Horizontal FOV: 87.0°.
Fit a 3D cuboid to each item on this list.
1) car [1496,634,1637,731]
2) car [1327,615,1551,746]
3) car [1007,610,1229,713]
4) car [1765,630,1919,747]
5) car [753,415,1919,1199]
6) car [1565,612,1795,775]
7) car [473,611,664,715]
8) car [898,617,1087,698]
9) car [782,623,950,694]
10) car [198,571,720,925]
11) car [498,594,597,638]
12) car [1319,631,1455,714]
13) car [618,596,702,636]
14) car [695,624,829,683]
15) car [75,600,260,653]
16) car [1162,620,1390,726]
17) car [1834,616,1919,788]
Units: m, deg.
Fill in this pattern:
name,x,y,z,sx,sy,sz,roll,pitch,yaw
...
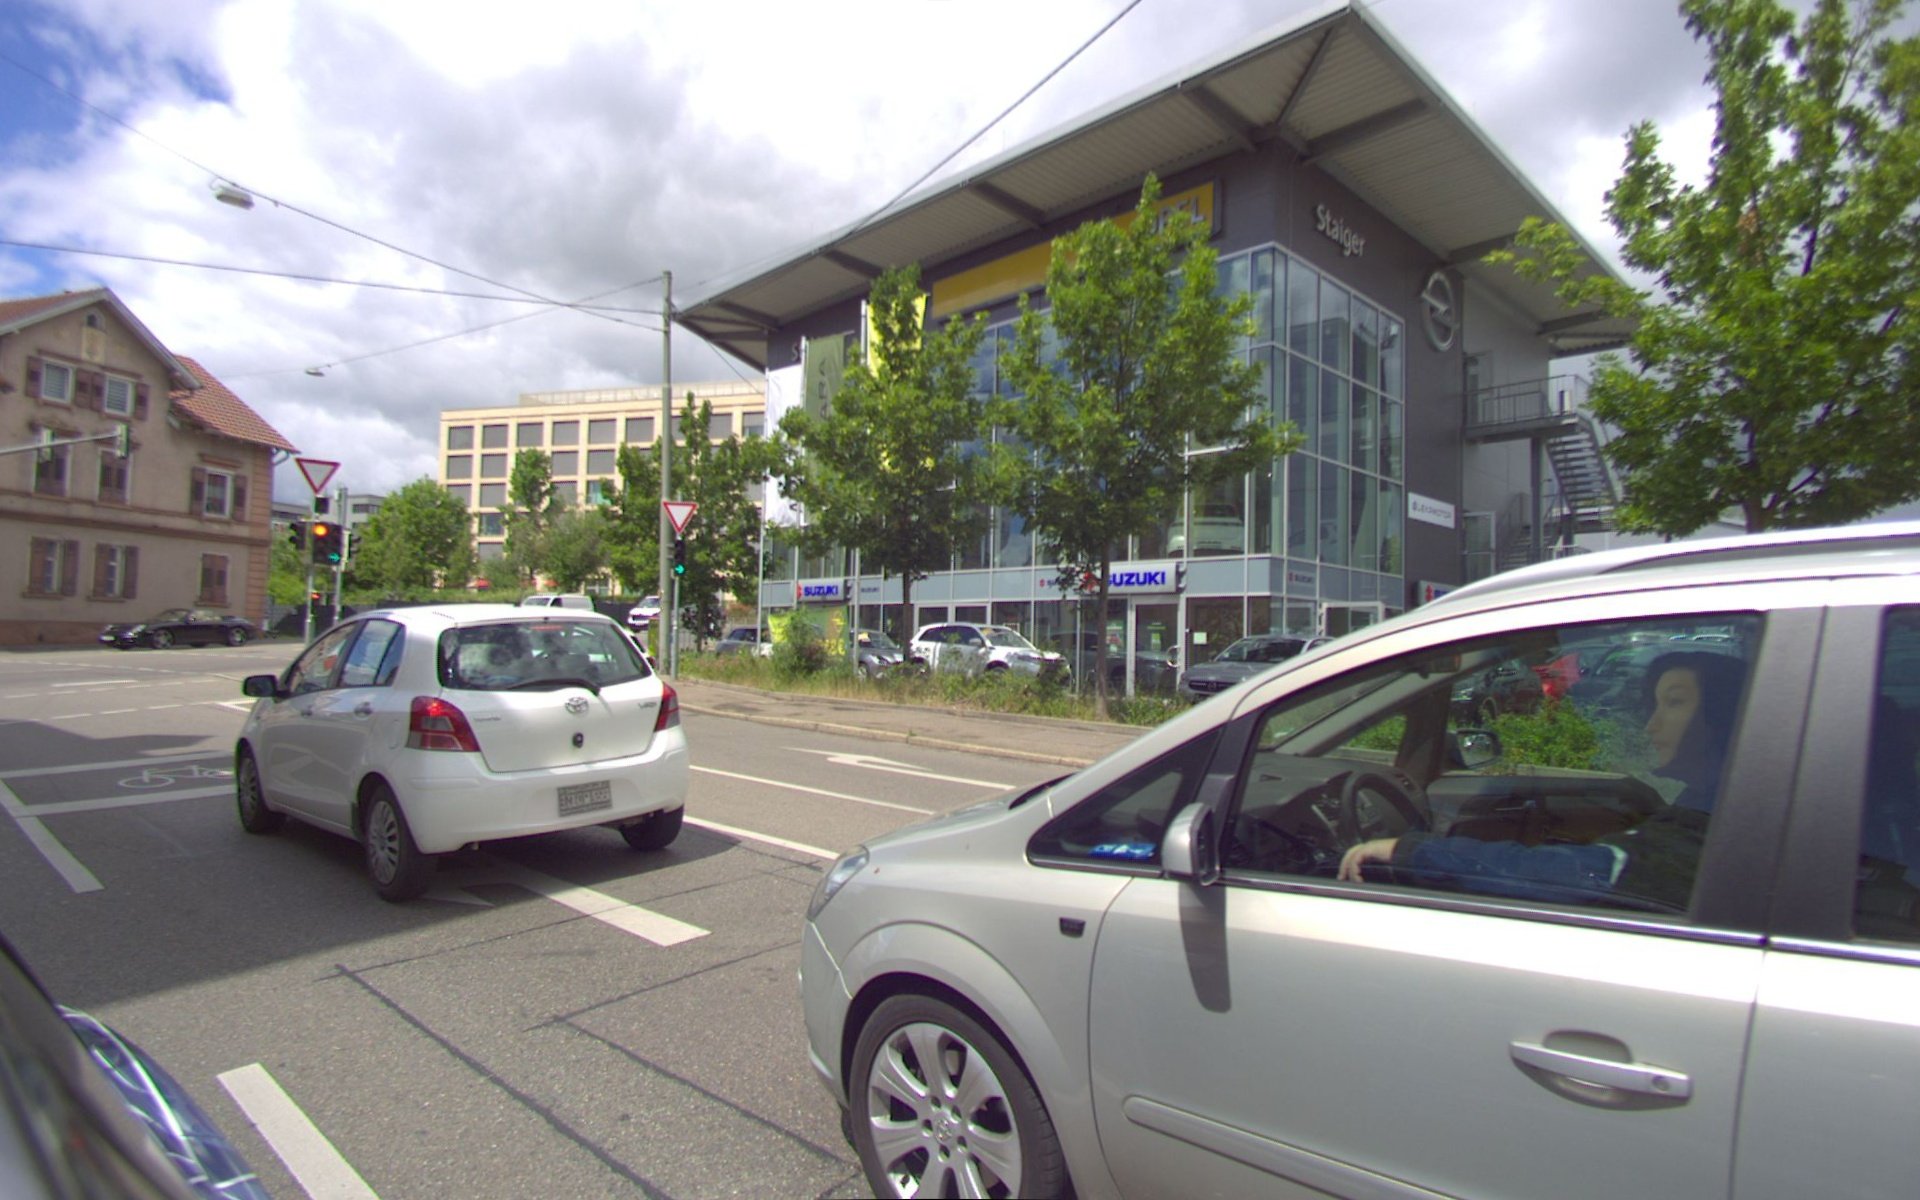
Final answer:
name,x,y,z,sx,sy,sz,roll,pitch,yaw
car,9.788,1.289,16.236,1.516,1.384,3.283,-2,-4,38
car,6.644,1.057,13.812,1.811,1.509,4.165,-2,-4,39
car,2.746,1.038,16.979,1.812,1.509,3.944,-3,-5,42
car,11.928,1.157,13.714,1.516,1.384,3.283,-2,-4,38
car,1.622,0.593,1.795,4.318,1.593,1.700,0,-1,42
car,8.371,1.005,11.644,1.811,1.509,4.236,-2,-4,39
car,-6.739,0.997,17.130,1.697,1.508,4.472,5,-3,-38
car,0.649,1.174,22.303,1.920,1.574,3.999,1,-1,-43
car,-2.462,1.415,25.728,4.307,1.574,1.921,0,-1,44
car,-3.426,0.681,6.552,3.999,1.593,1.700,0,-1,42
car,-20.152,0.745,49.669,1.982,2.027,4.793,0,1,15
car,7.893,1.317,18.608,1.516,1.384,2.980,-2,-4,39
car,-15.739,0.789,53.379,1.981,2.008,4.967,0,0,14
car,-5.747,1.452,28.981,1.918,1.485,4.313,1,-1,-40
car,-24.835,0.788,31.938,1.981,1.477,4.311,0,1,14
car,4.949,1.097,15.550,1.812,1.405,4.022,-3,-5,42
car,10.119,0.989,10.191,1.811,1.509,4.014,-2,-4,39
